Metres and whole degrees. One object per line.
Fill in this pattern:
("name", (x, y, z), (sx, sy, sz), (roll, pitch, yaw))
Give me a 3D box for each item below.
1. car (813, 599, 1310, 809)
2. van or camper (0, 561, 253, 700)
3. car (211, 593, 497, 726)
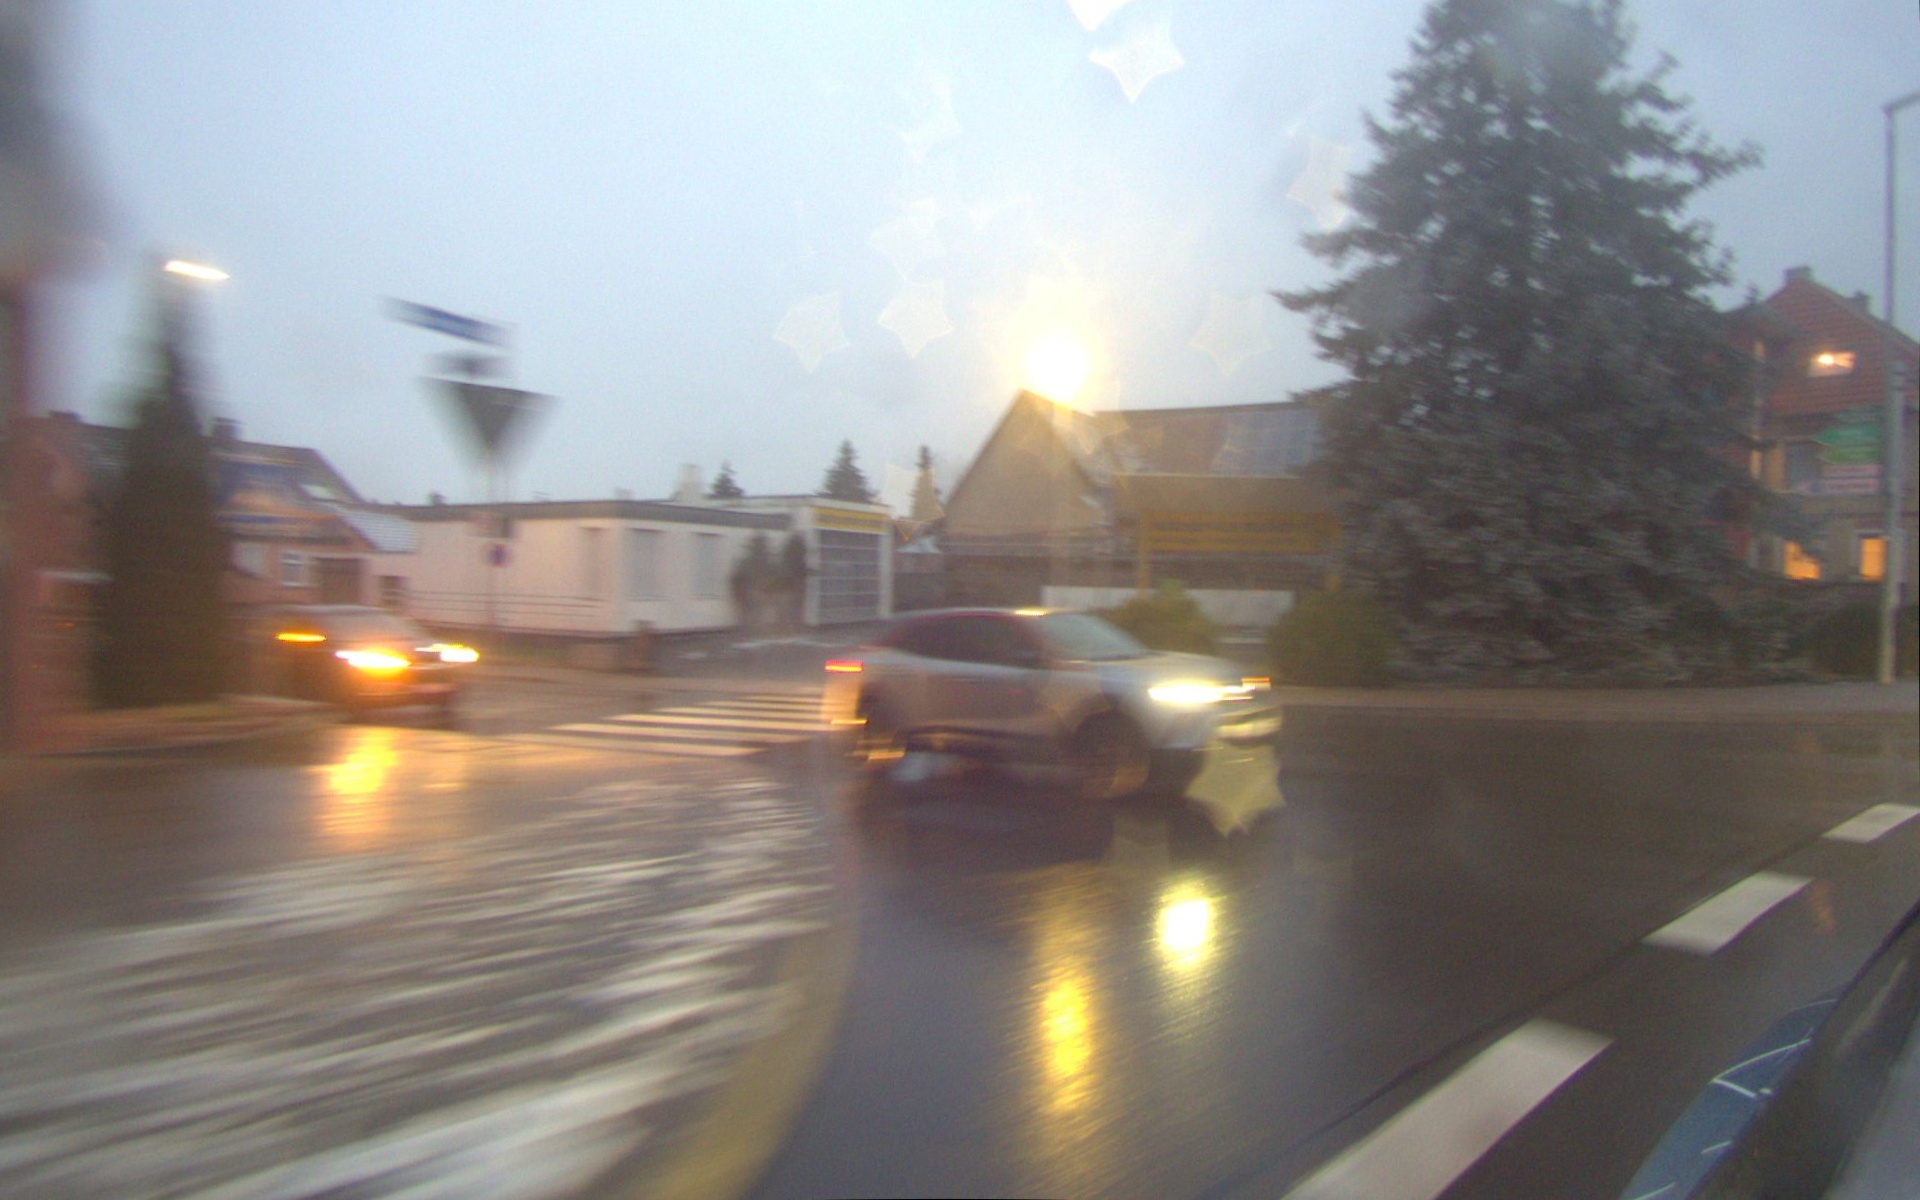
("car", (0.756, 0.763, 9.068), (4.162, 1.460, 1.772), (-1, -1, 39))
("van or camper", (-18.029, 0.572, 20.549), (9.110, 2.362, 2.428), (0, -2, 30))
("car", (-9.462, 0.855, 15.773), (4.092, 1.810, 2.027), (-1, 0, 28))
